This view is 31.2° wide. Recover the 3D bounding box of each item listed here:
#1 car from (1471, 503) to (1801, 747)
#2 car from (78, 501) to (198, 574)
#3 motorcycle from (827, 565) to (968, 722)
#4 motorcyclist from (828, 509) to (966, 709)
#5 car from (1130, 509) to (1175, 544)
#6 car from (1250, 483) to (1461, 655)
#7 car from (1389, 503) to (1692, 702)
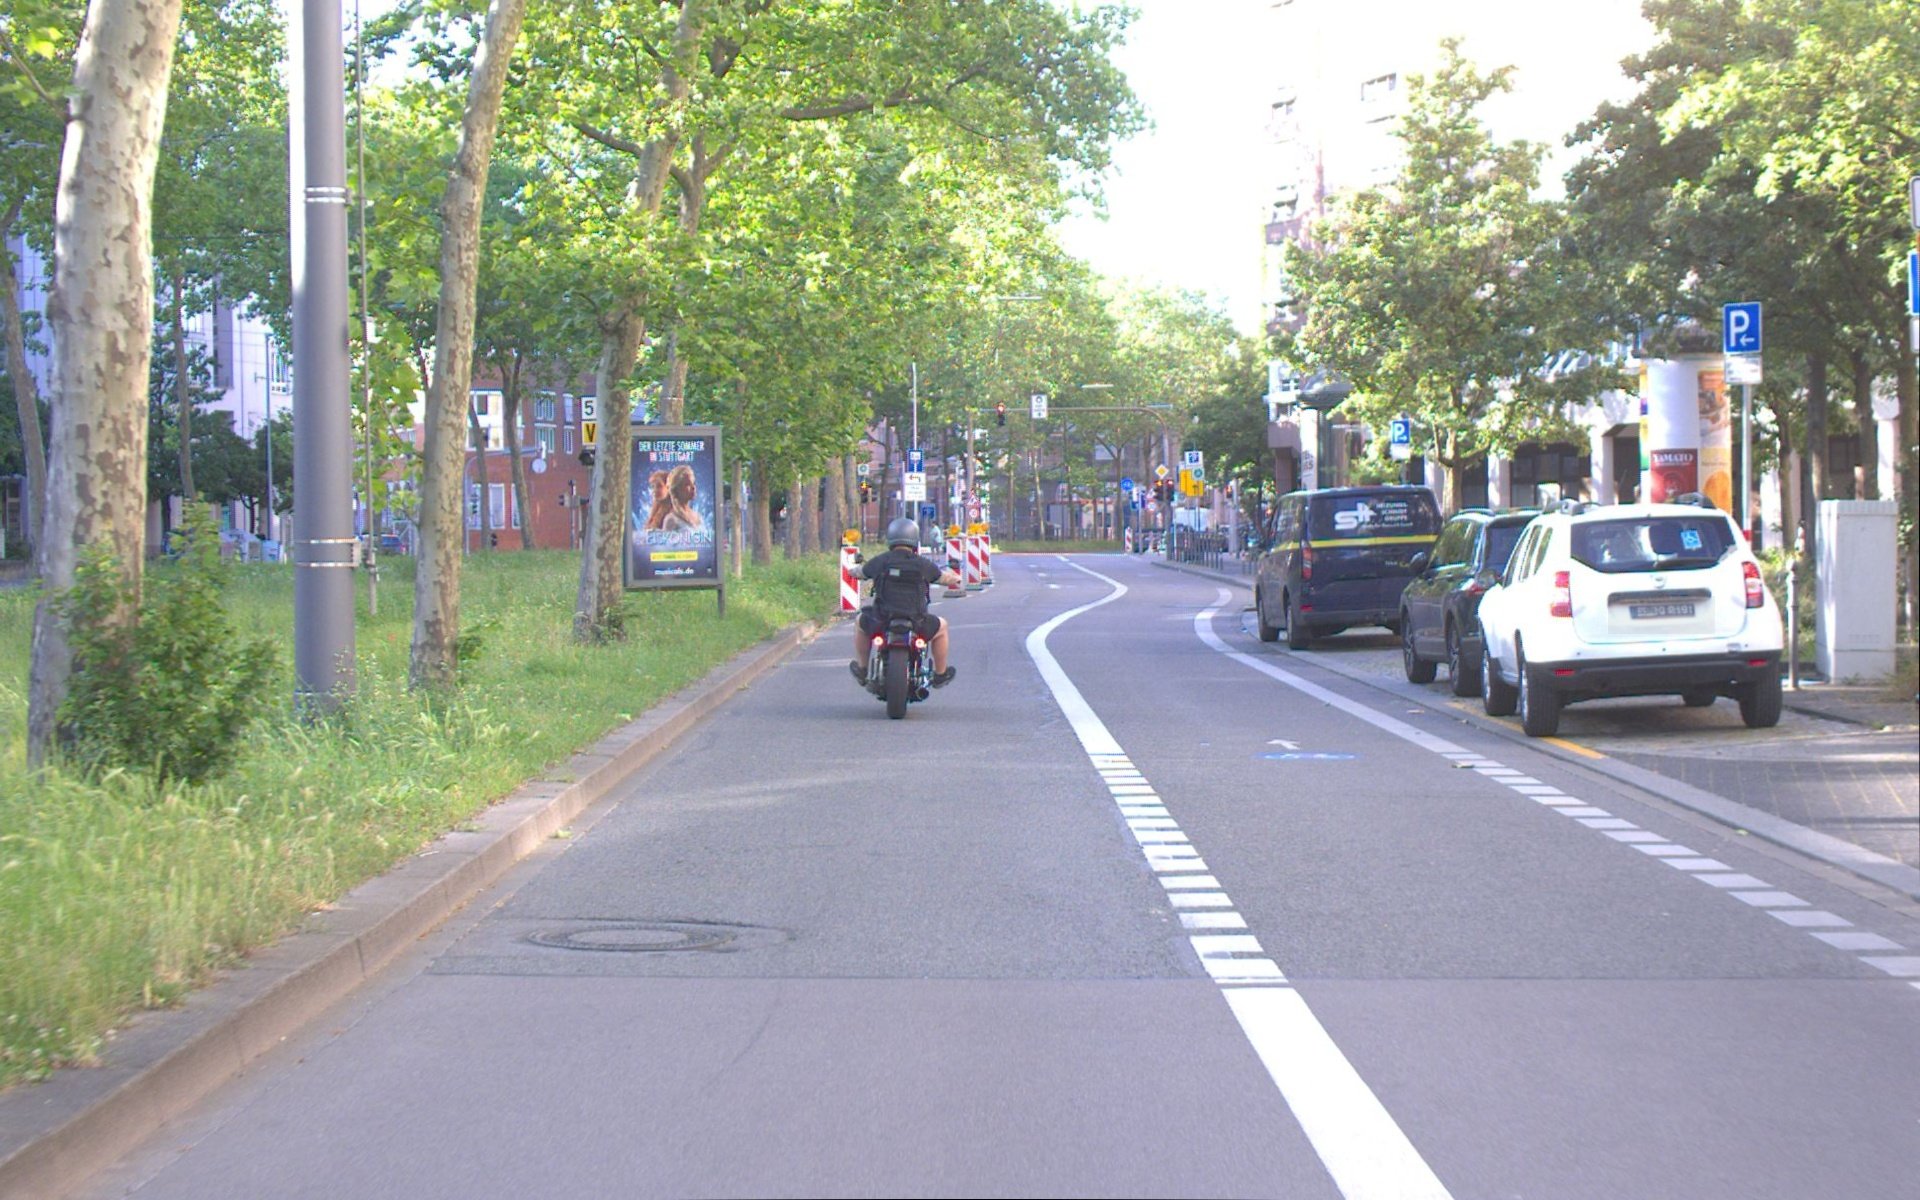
[{"bbox_3d":[4.923,0.124,25.514,1.859,1.632,3.868,-1,1,3],"label":"car"},{"bbox_3d":[-19.663,-1.527,82.403,1.900,1.681,4.000,-1,2,0],"label":"car"},{"bbox_3d":[-0.483,0.332,28.005,1.006,1.121,2.323,-1,3,2],"label":"motorcycle"},{"bbox_3d":[-0.502,0.058,27.957,1.022,1.547,1.286,-1,3,2],"label":"motorcyclist"},{"bbox_3d":[9.735,-3.715,173.861,1.994,1.700,3.999,-1,2,7],"label":"car"},{"bbox_3d":[4.883,-0.432,43.014,2.030,1.970,4.415,-2,2,0],"label":"car"},{"bbox_3d":[5.193,-0.022,31.297,1.987,1.623,4.086,-2,1,0],"label":"car"}]
